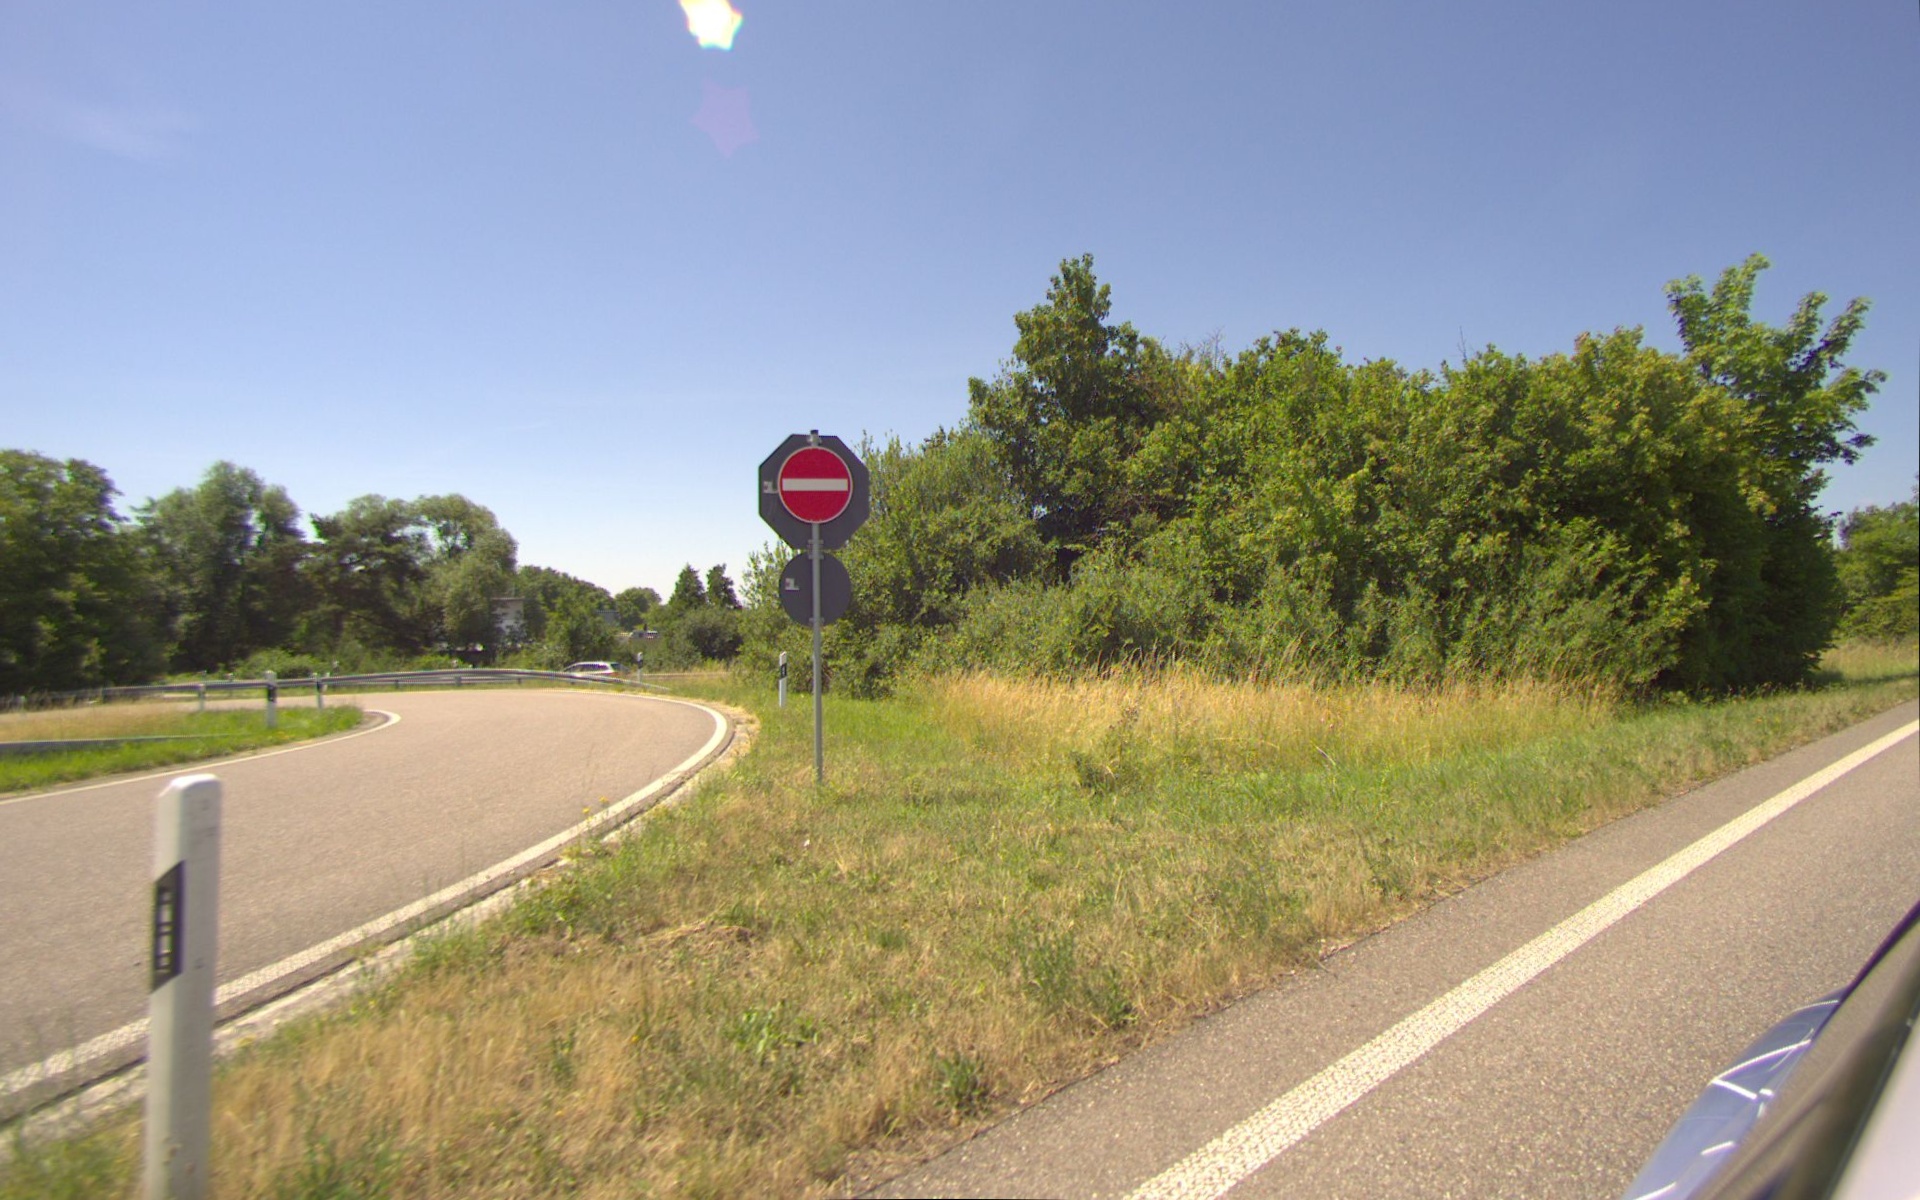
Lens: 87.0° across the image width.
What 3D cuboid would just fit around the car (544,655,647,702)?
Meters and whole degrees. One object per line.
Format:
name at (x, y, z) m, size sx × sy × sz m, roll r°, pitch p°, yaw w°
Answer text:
car at (-16.935, 3.646, 47.079) m, size 4.060 × 1.923 × 1.920 m, roll -2°, pitch -1°, yaw 11°
